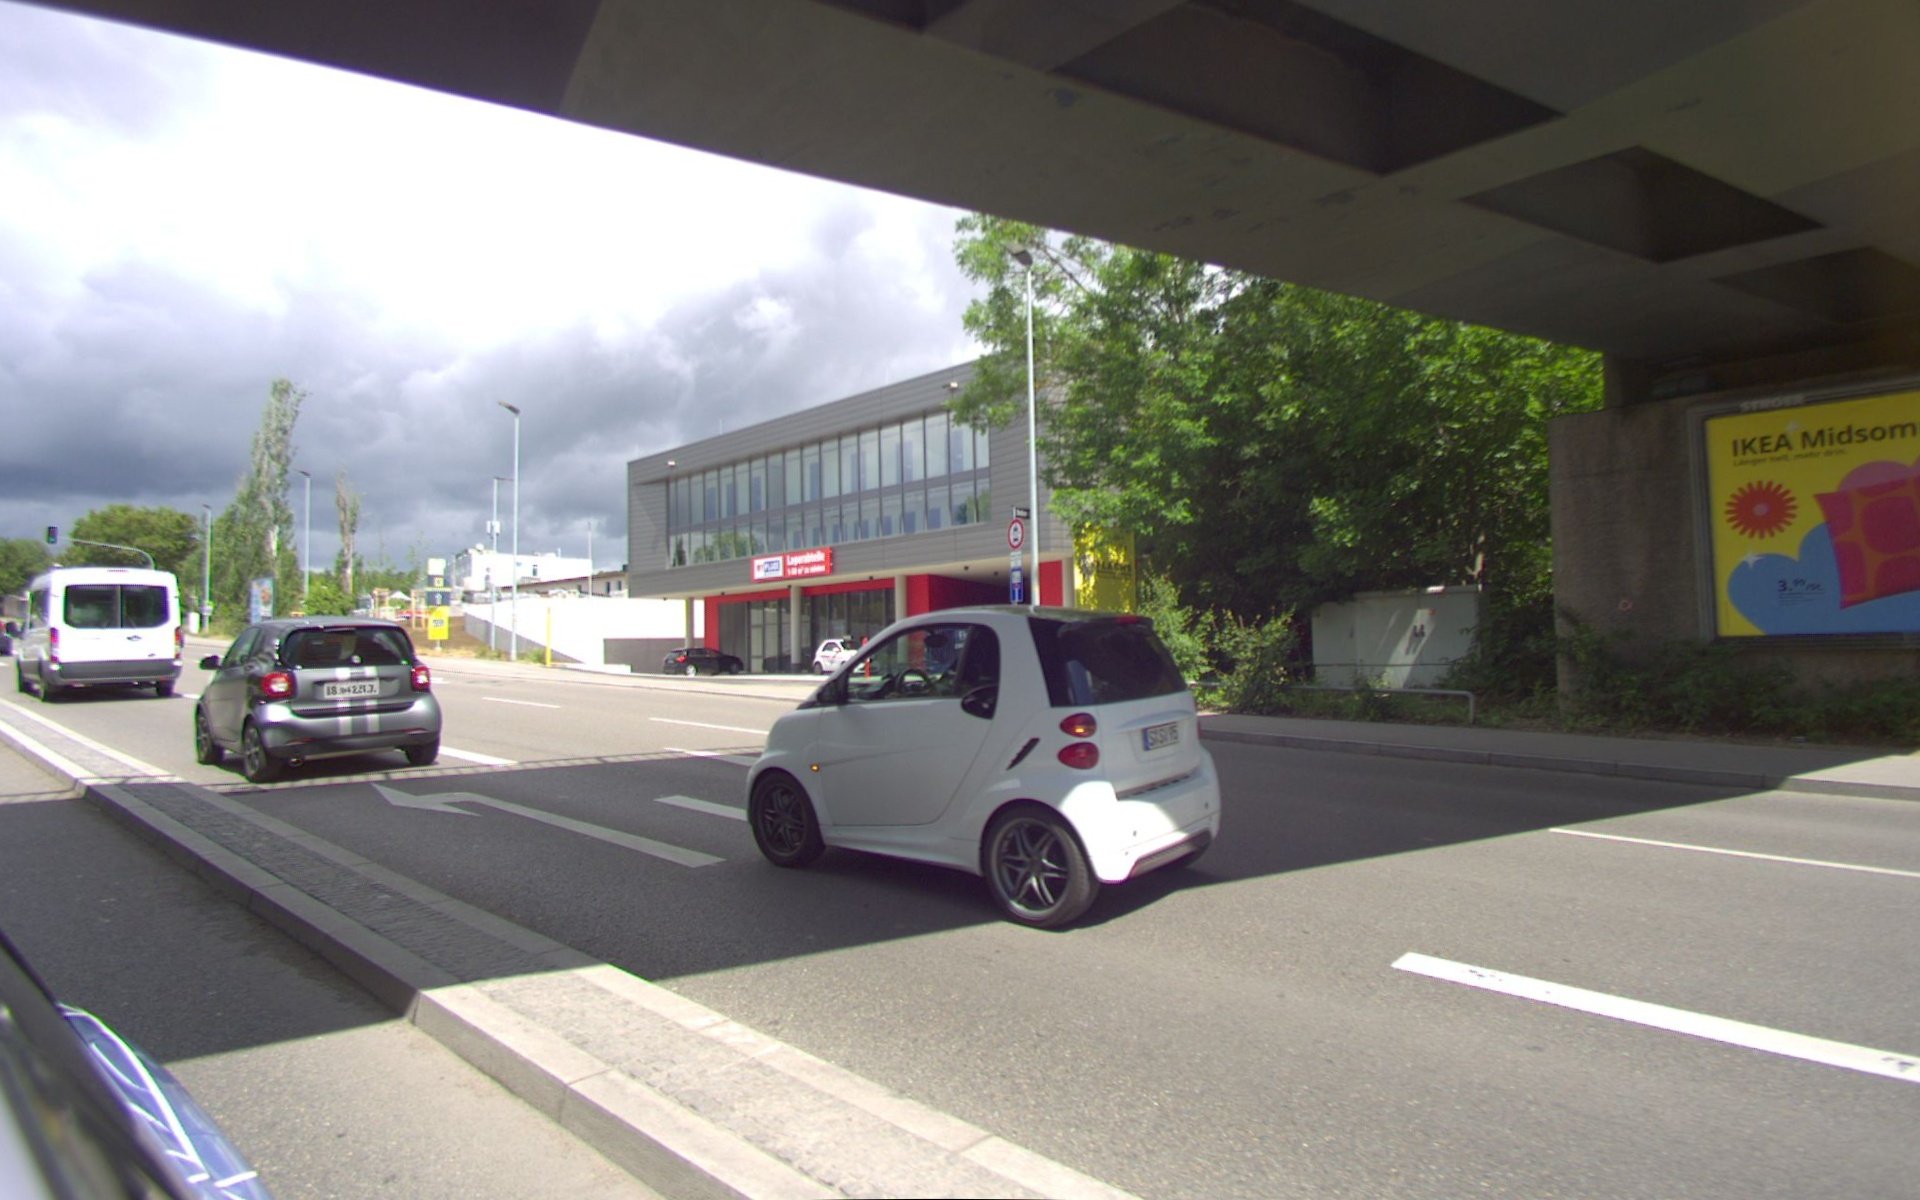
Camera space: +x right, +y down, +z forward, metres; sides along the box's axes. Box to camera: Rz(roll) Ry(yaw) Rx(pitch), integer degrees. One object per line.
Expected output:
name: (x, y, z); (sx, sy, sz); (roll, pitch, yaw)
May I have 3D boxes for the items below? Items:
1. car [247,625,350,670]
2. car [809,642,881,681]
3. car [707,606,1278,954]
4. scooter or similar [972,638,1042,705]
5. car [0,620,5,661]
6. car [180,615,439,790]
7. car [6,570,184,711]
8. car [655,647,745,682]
car: (-21.800, 1.538, 33.301); (4.001, 1.364, 1.971); (-2, -3, 44)
car: (-4.950, 2.625, 43.478); (2.844, 1.595, 1.551); (-2, -3, 41)
car: (0.068, 0.813, 5.955); (3.113, 1.500, 1.490); (-1, -2, 40)
scooter or similar: (0.813, 1.233, 17.805); (0.470, 1.129, 1.387); (2, -3, -37)
car: (-39.012, 1.597, 39.864); (4.253, 1.603, 1.619); (-2, -1, 41)
car: (-6.767, 0.946, 10.467); (2.736, 1.543, 1.552); (-2, -2, 41)
car: (-17.668, 0.779, 20.555); (5.570, 2.491, 2.019); (-2, -2, 42)
car: (-12.909, 3.155, 50.349); (1.958, 1.630, 3.946); (-2, -3, 40)
